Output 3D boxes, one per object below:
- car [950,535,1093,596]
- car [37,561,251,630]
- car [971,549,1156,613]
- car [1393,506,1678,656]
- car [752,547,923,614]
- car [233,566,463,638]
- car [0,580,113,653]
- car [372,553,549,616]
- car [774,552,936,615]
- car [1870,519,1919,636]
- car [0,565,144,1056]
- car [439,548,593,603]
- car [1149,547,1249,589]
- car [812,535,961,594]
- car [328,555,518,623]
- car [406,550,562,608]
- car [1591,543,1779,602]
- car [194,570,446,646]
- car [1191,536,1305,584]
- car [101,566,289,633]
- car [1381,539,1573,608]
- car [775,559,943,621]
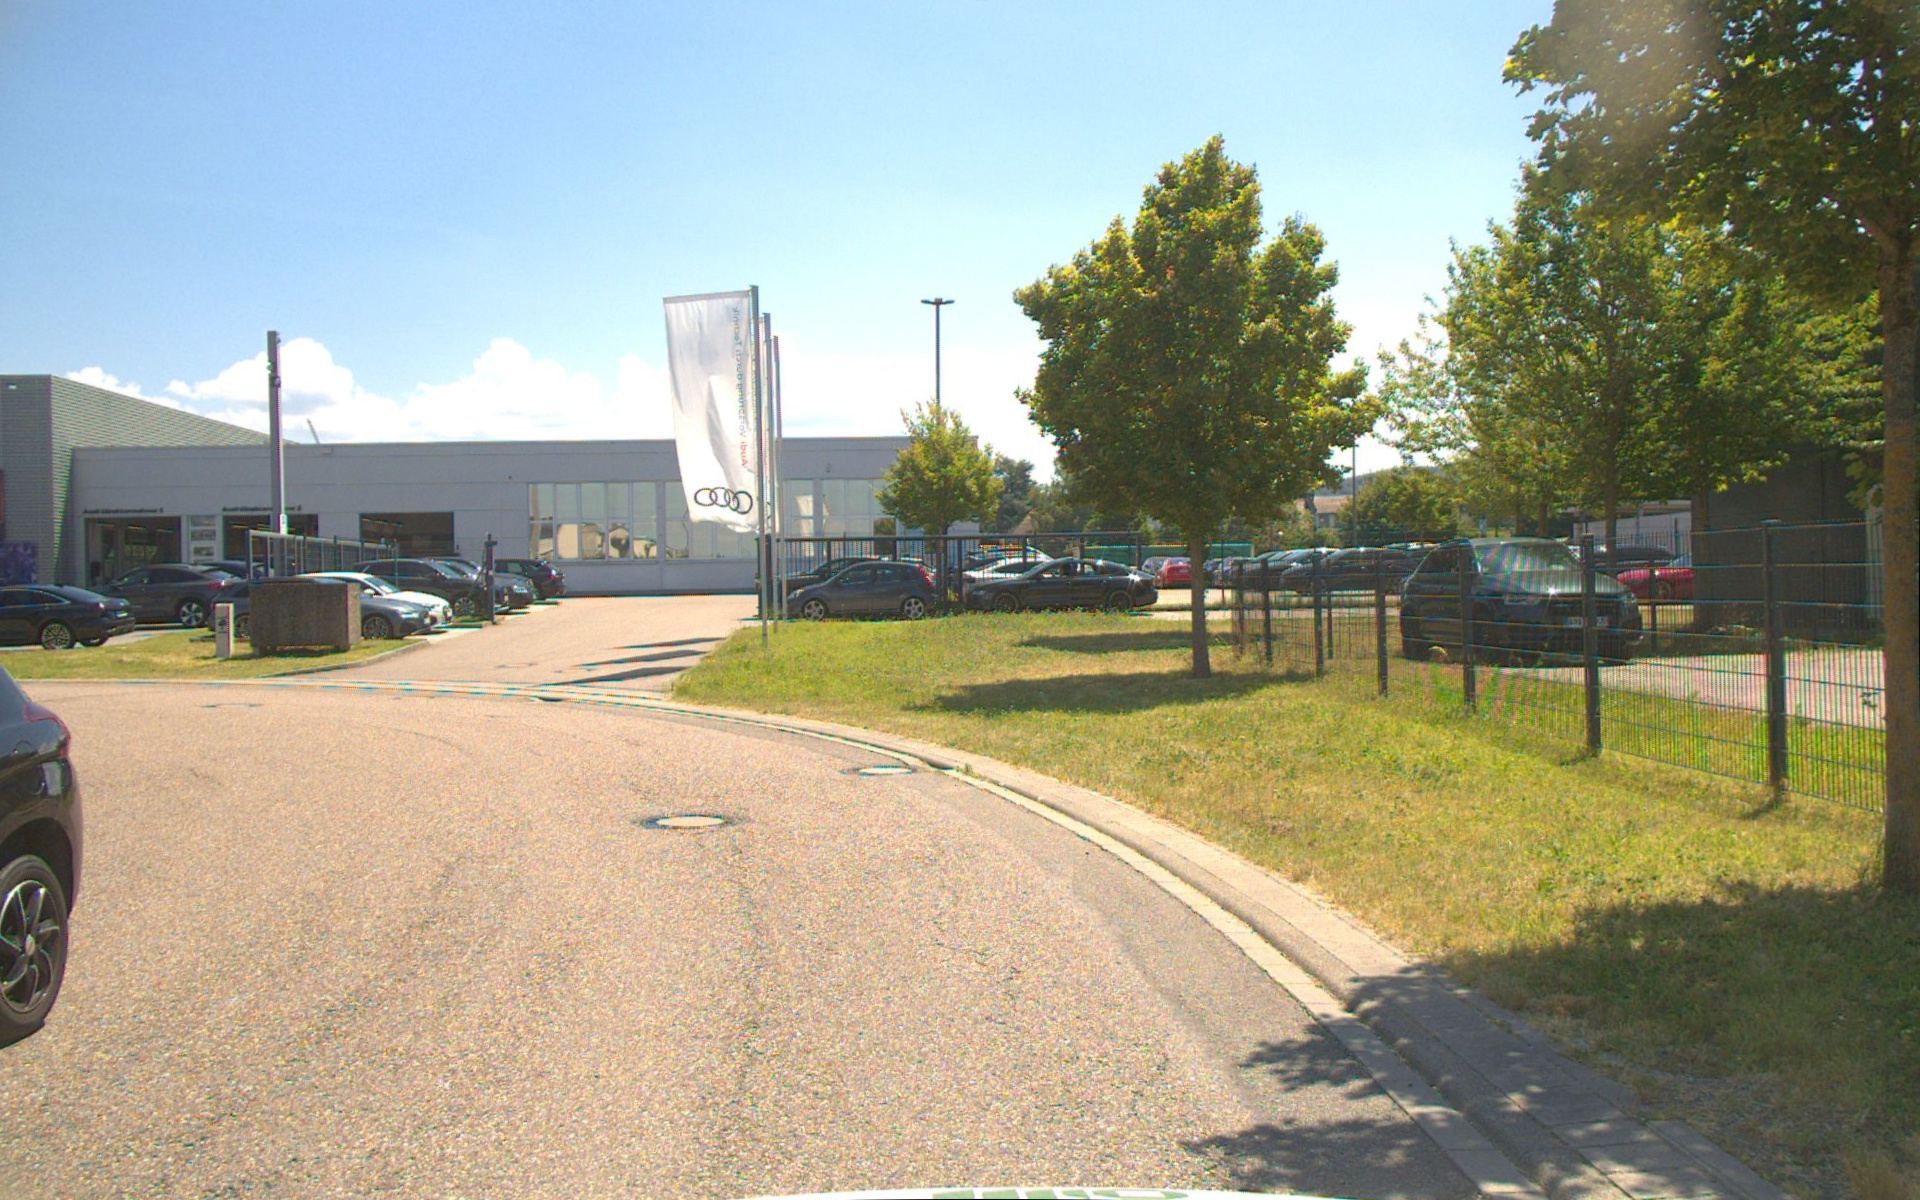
[{"bbox_3d":[1.838,-1.044,50.314,4.118,1.658,1.794,-2,1,-5],"label":"car"},{"bbox_3d":[-21.451,-0.140,43.629,4.677,1.672,1.828,-1,1,-5],"label":"car"},{"bbox_3d":[2.539,-0.488,41.281,4.466,1.425,1.780,-2,2,-2],"label":"car"},{"bbox_3d":[6.961,-0.183,20.527,1.740,1.629,4.279,-2,-1,-4],"label":"car"},{"bbox_3d":[-3.327,-0.551,44.944,4.521,1.658,1.966,-1,2,-5],"label":"car"},{"bbox_3d":[-14.675,0.016,39.890,4.833,1.555,1.824,-1,2,-5],"label":"car"},{"bbox_3d":[-21.636,0.372,36.395,4.910,1.480,1.884,-1,3,-5],"label":"car"},{"bbox_3d":[-14.376,-0.476,47.785,4.521,1.658,1.966,-1,2,-5],"label":"car"},{"bbox_3d":[-3.033,-0.508,47.593,4.521,1.658,1.966,-1,2,-5],"label":"car"},{"bbox_3d":[14.085,-0.350,21.683,1.740,1.594,4.168,-2,-1,-4],"label":"car"},{"bbox_3d":[-3.861,0.714,4.271,1.621,1.582,4.130,-2,1,-4],"label":"car"},{"bbox_3d":[-14.490,-0.821,54.182,4.521,1.658,1.966,-1,2,-5],"label":"car"},{"bbox_3d":[10.478,-1.392,72.685,3.913,1.717,1.996,-2,1,-9],"label":"car"},{"bbox_3d":[-2.318,-1.107,51.769,4.521,1.658,1.966,-2,1,-5],"label":"car"},{"bbox_3d":[-14.470,-0.320,44.776,4.521,1.658,1.966,-1,2,-5],"label":"car"},{"bbox_3d":[-14.665,-0.679,51.162,4.278,1.658,1.966,-1,2,-5],"label":"car"},{"bbox_3d":[18.672,-0.728,42.680,4.075,1.380,1.780,-2,2,-2],"label":"car"},{"bbox_3d":[-14.255,0.155,37.078,4.833,1.493,1.966,-1,2,-5],"label":"car"},{"bbox_3d":[11.138,-1.552,64.125,3.913,1.717,1.996,-2,1,-9],"label":"car"},{"bbox_3d":[-21.274,-0.020,46.136,4.317,1.724,1.828,-1,1,-5],"label":"car"},{"bbox_3d":[13.151,-0.697,42.215,4.303,1.594,1.780,-2,2,-2],"label":"car"},{"bbox_3d":[-2.488,-0.261,41.121,4.049,1.372,1.780,-2,2,-2],"label":"car"}]
